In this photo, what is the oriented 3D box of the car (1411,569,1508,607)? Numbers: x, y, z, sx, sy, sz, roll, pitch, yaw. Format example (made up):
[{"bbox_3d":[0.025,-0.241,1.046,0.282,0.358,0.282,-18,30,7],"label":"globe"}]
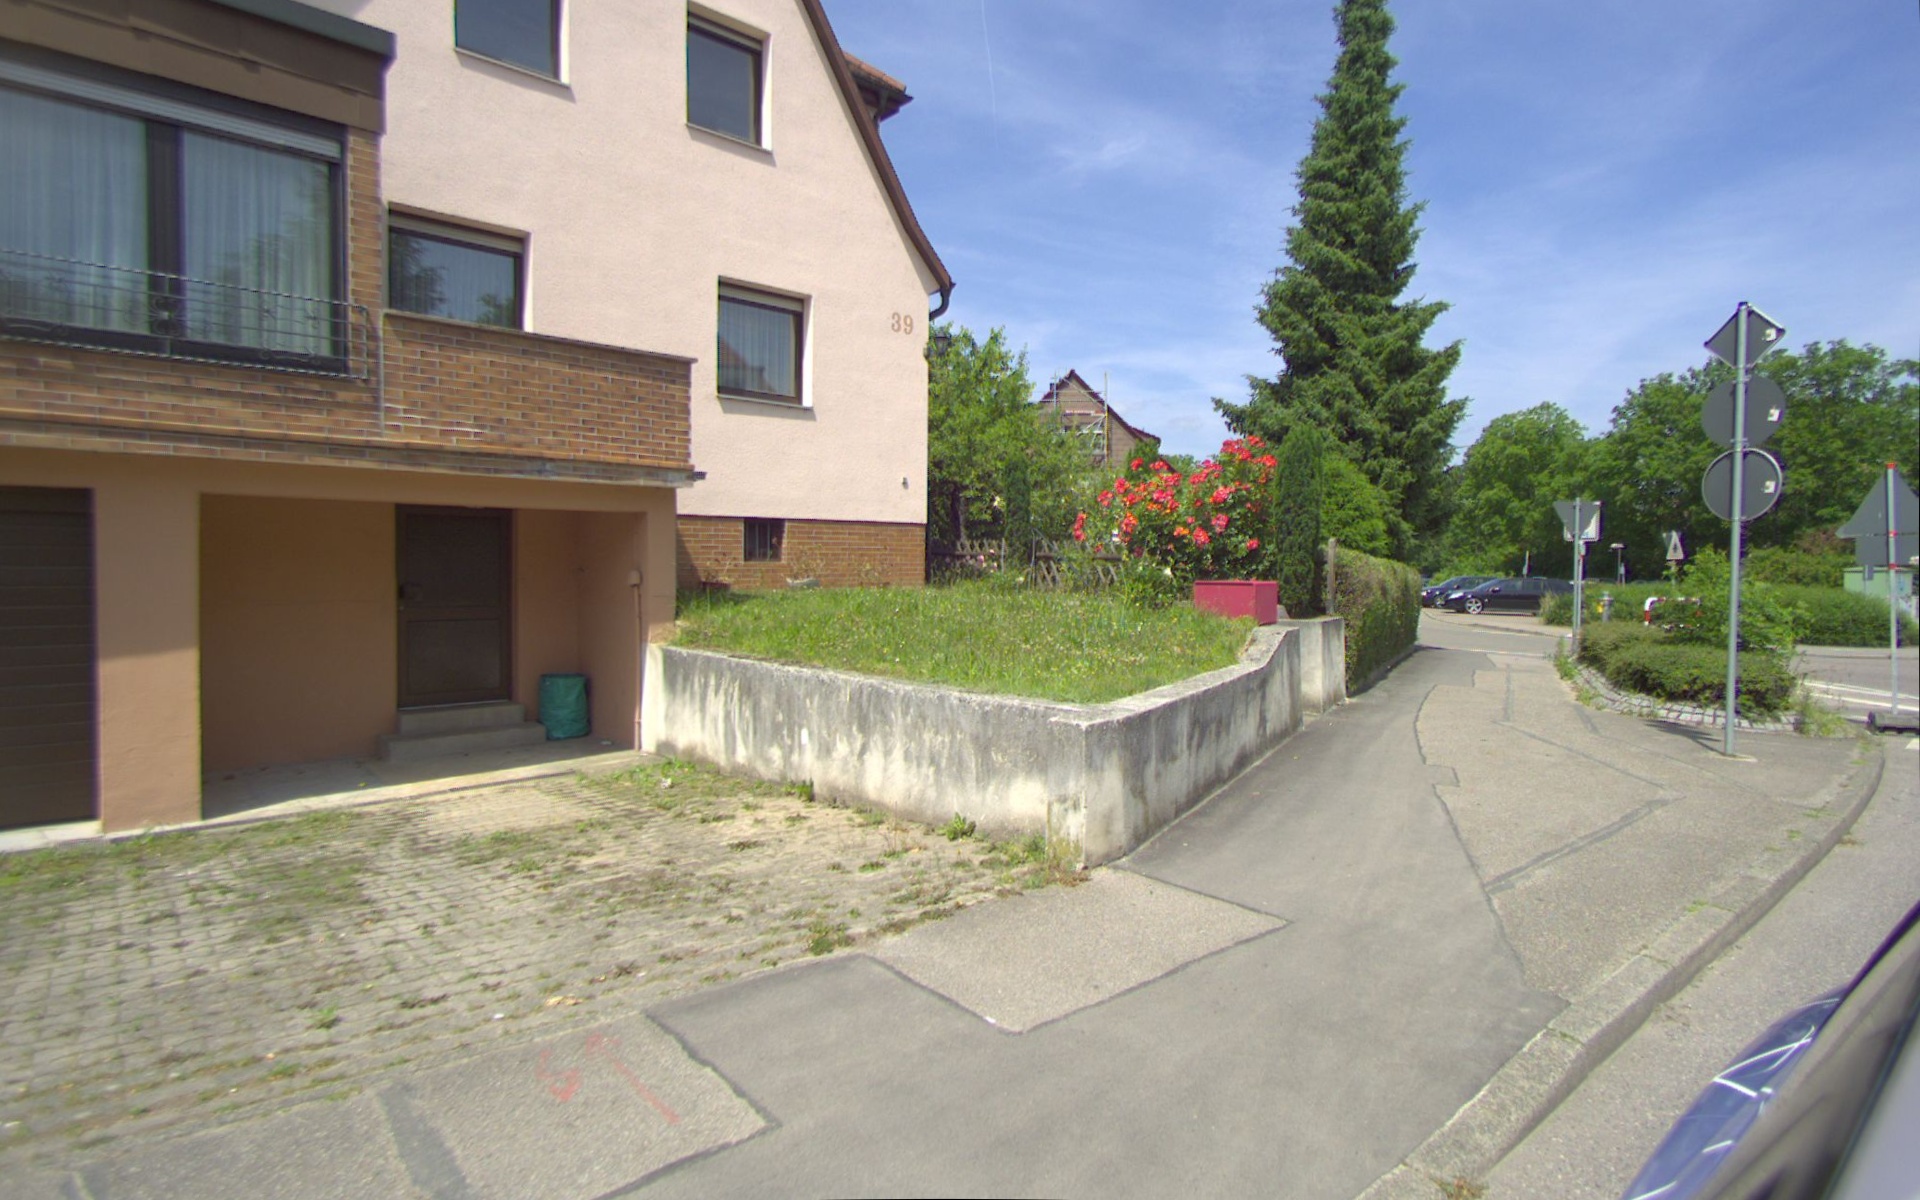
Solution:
[{"bbox_3d":[21.363,-0.540,43.405,3.375,1.503,1.415,2,2,7],"label":"car"}]

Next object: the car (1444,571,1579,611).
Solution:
[{"bbox_3d":[20.755,-0.362,38.234,4.219,1.416,1.396,1,2,12],"label":"car"}]
